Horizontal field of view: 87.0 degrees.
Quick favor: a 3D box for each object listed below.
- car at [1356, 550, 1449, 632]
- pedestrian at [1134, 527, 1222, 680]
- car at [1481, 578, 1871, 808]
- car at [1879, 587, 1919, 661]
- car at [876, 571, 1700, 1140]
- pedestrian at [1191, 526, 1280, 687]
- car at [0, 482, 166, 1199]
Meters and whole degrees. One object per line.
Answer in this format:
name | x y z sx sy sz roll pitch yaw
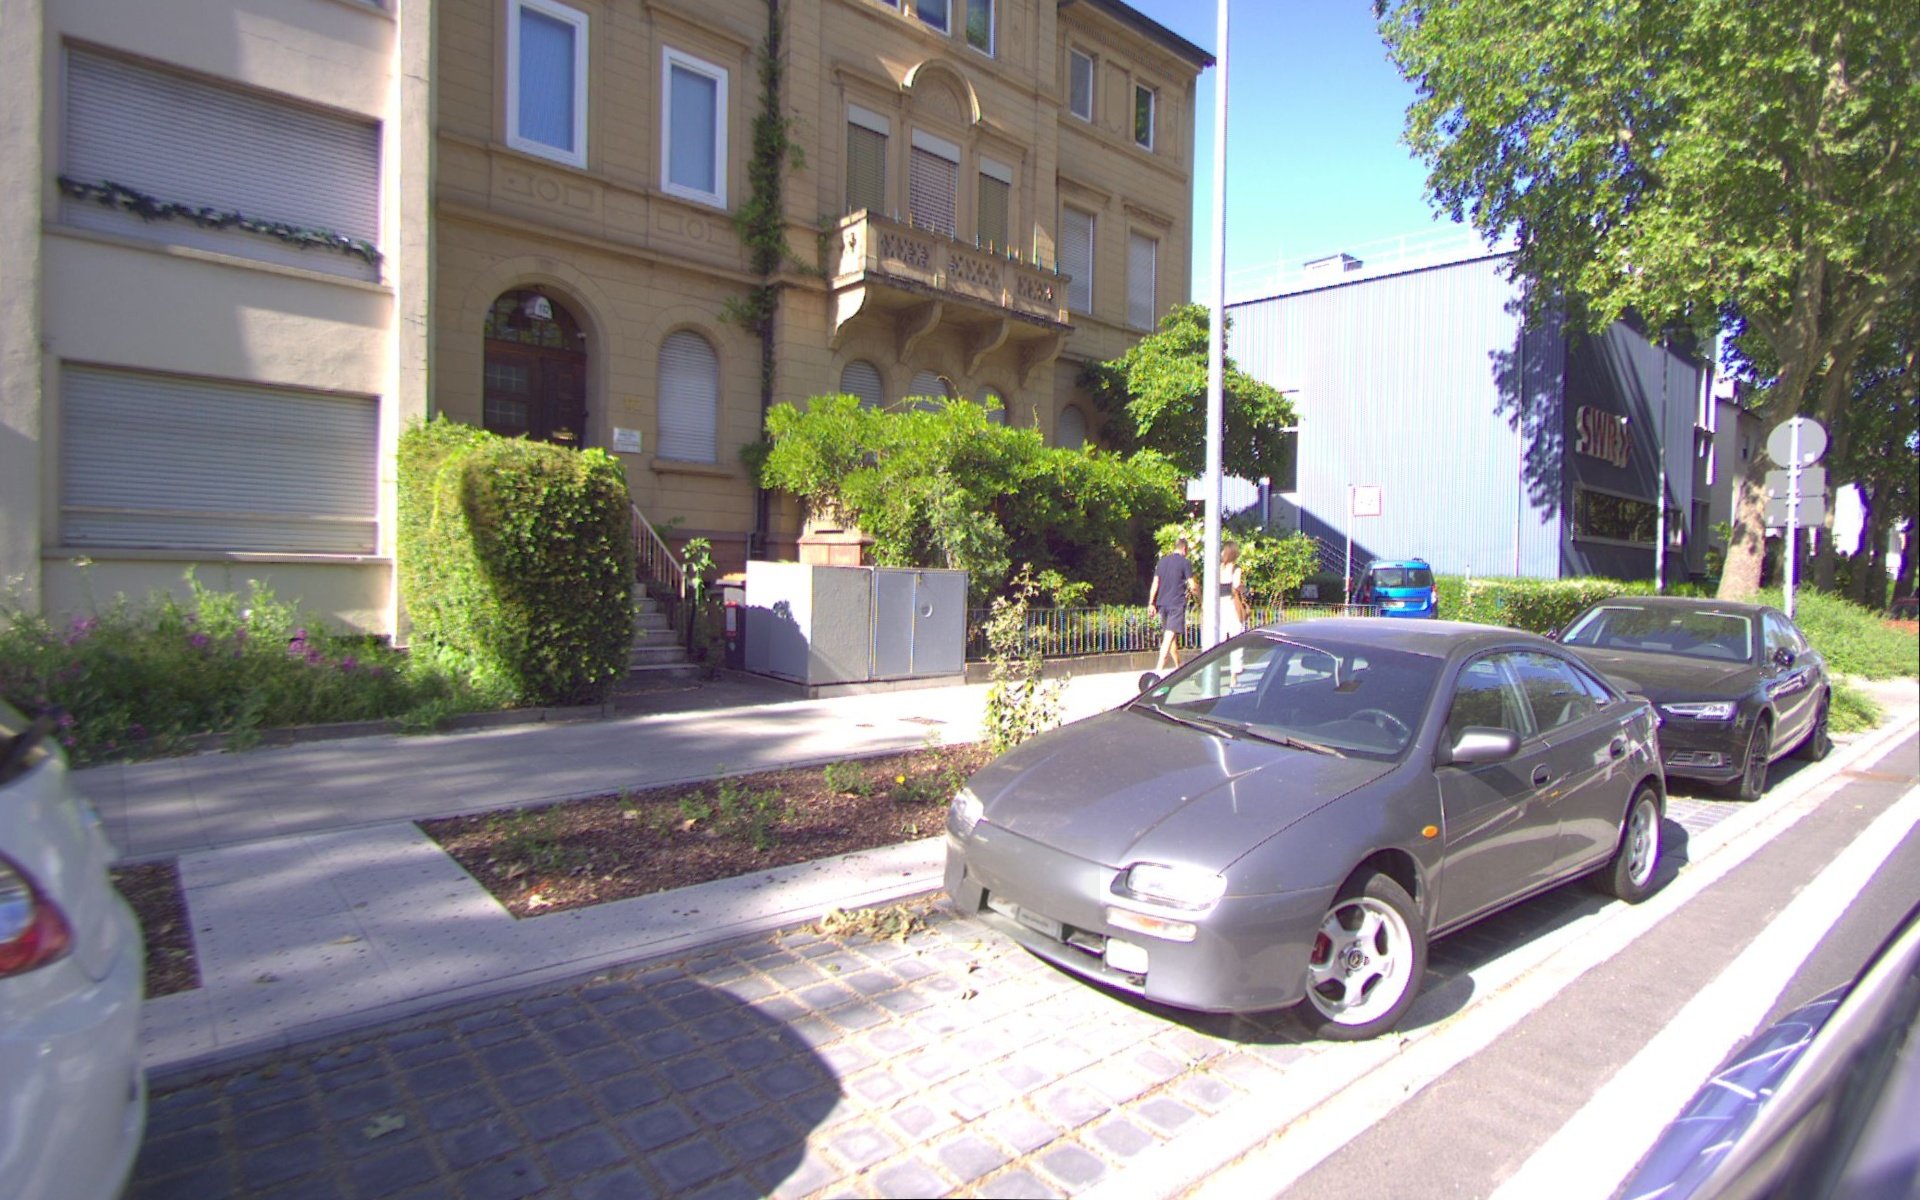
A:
car | 10.896 -0.279 25.163 1.777 1.844 3.975 2 2 20
pedestrian | 2.704 0.032 12.540 0.788 1.818 0.698 0 2 -41
car | 6.412 0.598 8.854 4.398 1.429 1.720 0 5 -41
car | 21.751 0.509 22.345 3.928 1.536 1.673 0 2 -41
car | 1.743 0.640 4.592 3.978 1.430 1.720 0 3 -41
pedestrian | 3.230 0.060 11.884 0.702 1.818 0.698 0 2 -41
car | -2.987 0.569 0.789 3.669 1.504 1.623 0 3 -41
